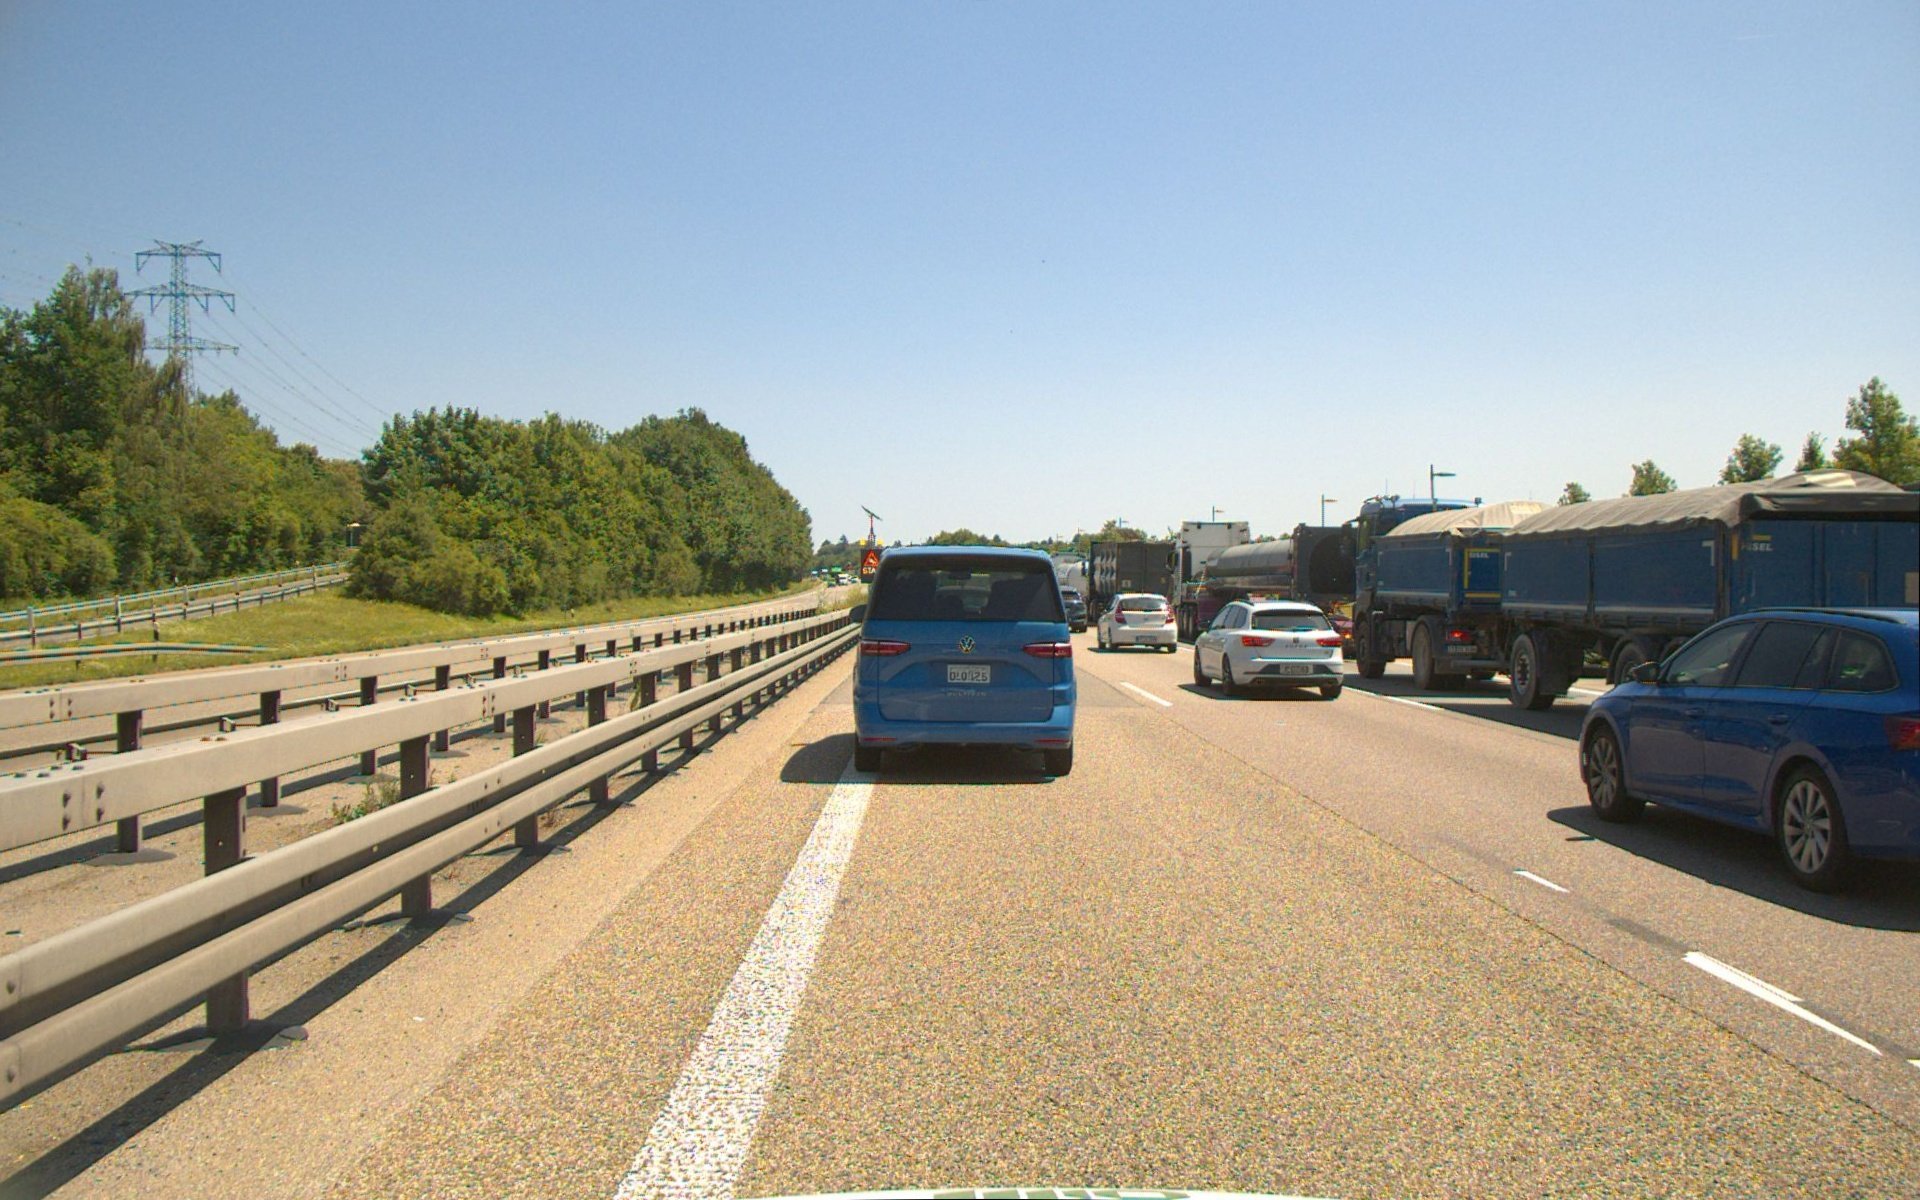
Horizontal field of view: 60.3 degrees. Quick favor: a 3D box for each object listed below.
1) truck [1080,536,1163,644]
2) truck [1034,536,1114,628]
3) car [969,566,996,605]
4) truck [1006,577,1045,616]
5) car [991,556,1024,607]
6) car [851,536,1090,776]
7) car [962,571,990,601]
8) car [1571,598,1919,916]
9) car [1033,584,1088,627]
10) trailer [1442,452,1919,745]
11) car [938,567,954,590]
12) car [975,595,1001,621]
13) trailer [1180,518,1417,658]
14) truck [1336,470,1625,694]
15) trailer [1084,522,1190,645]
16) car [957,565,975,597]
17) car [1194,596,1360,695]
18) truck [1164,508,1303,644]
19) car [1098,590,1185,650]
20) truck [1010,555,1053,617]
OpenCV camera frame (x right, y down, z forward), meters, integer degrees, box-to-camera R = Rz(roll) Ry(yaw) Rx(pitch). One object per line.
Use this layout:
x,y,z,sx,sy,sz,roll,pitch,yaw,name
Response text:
8.208,-0.483,84.551,3.584,5.270,5.708,1,-1,0,truck
7.029,-0.976,104.619,3.548,5.304,15.684,1,0,-1,truck
3.112,-1.957,231.386,3.155,5.349,8.137,1,-1,-4,car
3.279,-0.143,83.436,1.690,1.890,3.999,1,-1,-1,truck
5.091,-1.908,179.563,3.153,5.349,8.142,1,-1,-1,car
0.107,0.456,15.106,1.862,1.870,4.000,1,-1,1,car
1.543,-1.333,161.469,2.499,2.765,5.620,1,-1,-1,car
5.265,0.756,9.754,1.671,1.466,4.427,1,0,0,car
3.778,0.211,62.640,1.745,1.551,3.999,1,0,-1,car
8.873,-0.042,21.086,2.688,2.886,9.114,1,0,-1,trailer
-2.143,-3.210,251.359,2.435,3.260,7.370,1,0,-1,car
2.282,0.670,134.814,1.953,2.049,3.999,1,-1,-1,car
8.791,-0.207,45.686,3.571,3.133,15.773,1,0,1,trailer
8.751,-0.297,28.791,2.688,3.369,7.131,1,0,-1,truck
8.151,-0.663,78.133,3.572,5.226,13.074,1,0,0,trailer
0.929,-2.950,261.921,2.661,4.795,11.558,1,0,-1,car
4.816,0.647,25.672,1.829,1.385,4.000,1,0,1,car
8.959,-0.712,55.154,3.551,4.166,7.525,1,-1,2,truck
4.724,0.524,43.519,1.803,1.480,3.999,1,0,-1,car
6.004,-1.118,140.388,3.006,5.006,10.687,1,-1,-1,truck
